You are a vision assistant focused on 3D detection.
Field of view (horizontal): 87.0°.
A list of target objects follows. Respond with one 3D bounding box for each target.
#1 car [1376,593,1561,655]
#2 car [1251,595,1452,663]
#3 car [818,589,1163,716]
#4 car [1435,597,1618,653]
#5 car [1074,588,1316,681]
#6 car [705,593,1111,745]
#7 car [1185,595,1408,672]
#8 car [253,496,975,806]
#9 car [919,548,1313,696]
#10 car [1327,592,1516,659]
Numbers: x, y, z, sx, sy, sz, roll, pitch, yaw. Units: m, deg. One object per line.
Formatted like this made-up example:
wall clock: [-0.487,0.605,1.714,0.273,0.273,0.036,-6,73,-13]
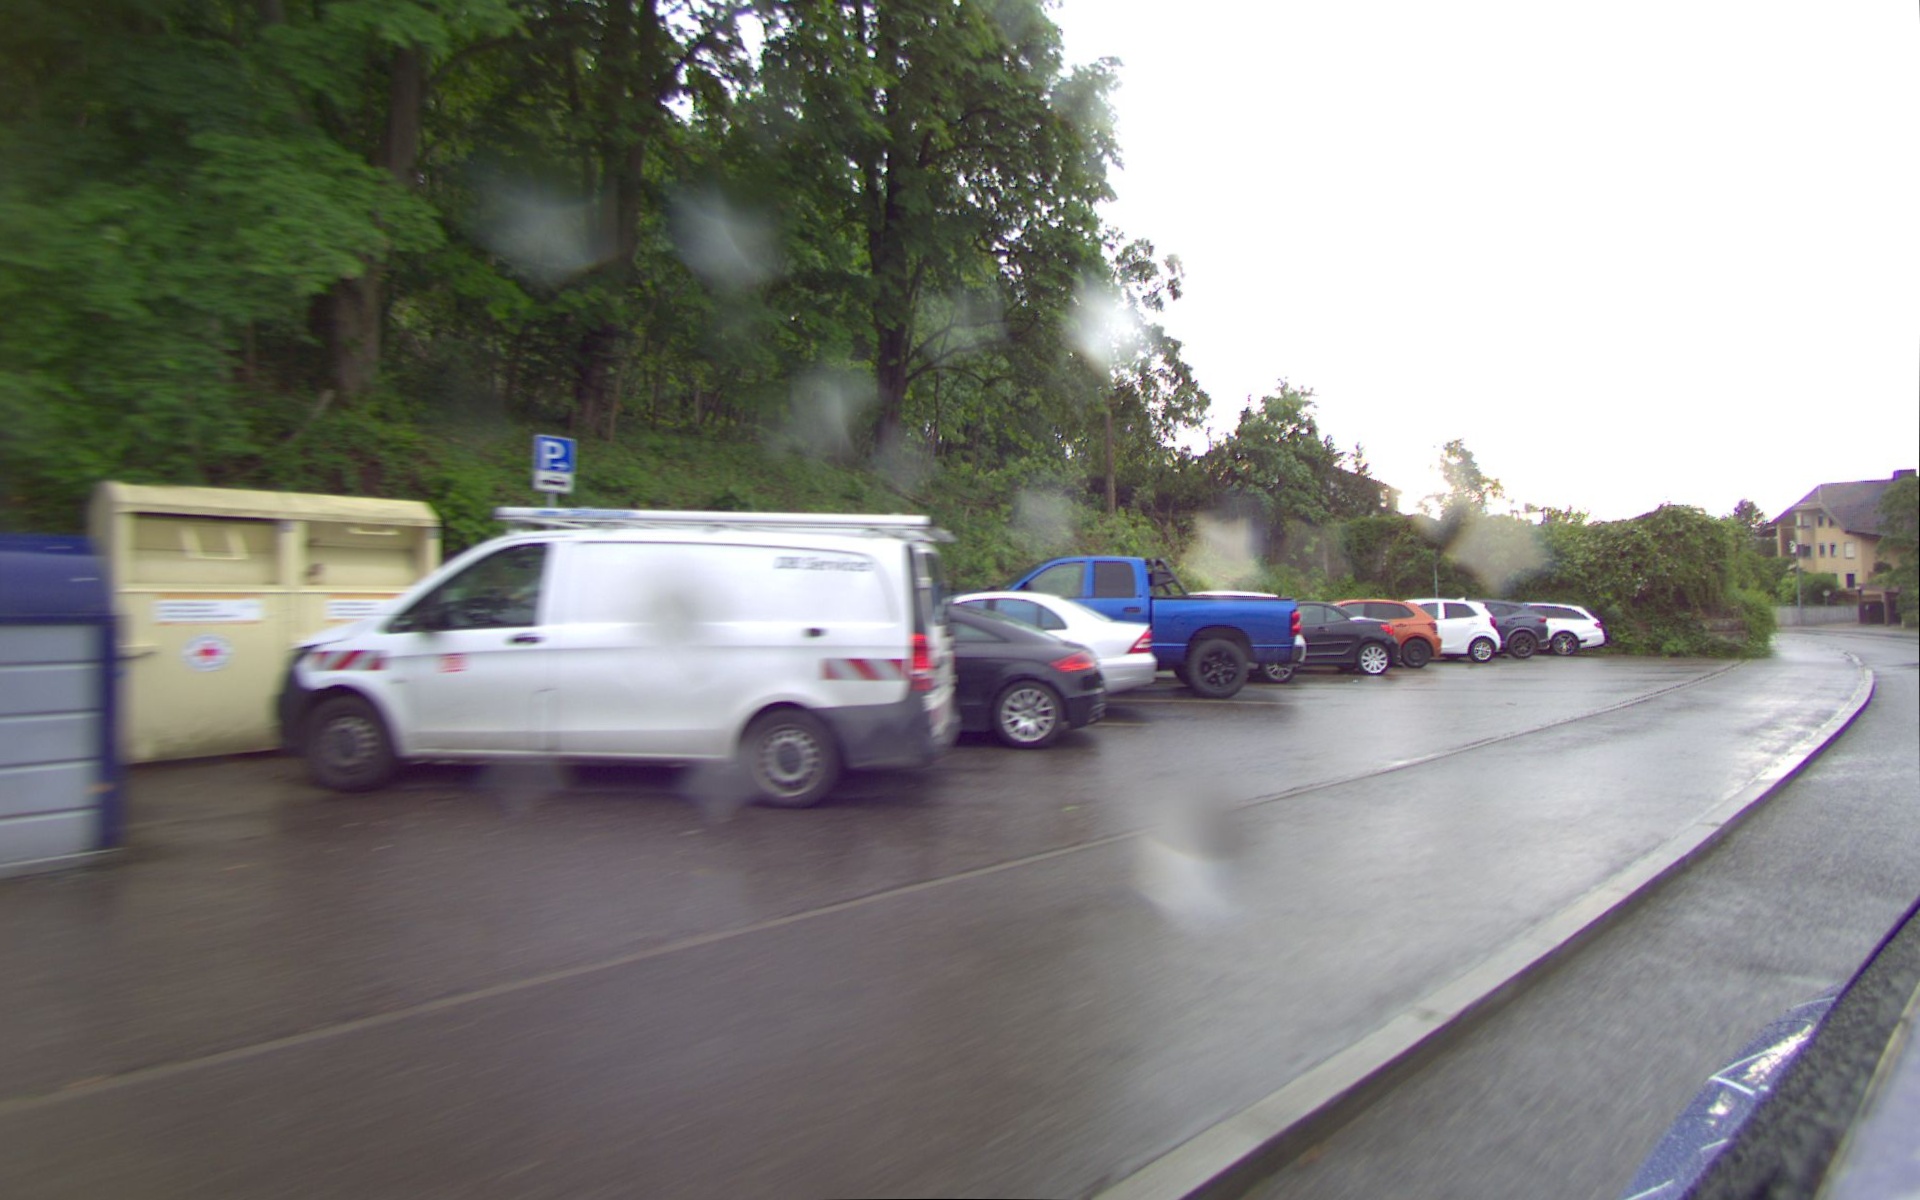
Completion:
car: [13.531,0.614,27.128,4.020,1.526,1.749,1,0,6]
car: [8.464,0.605,22.146,3.728,1.419,1.715,0,0,5]
car: [0.360,0.584,12.311,3.921,1.431,1.625,0,0,3]
car: [16.293,0.675,29.331,4.253,1.482,1.804,1,0,15]
car: [3.949,0.558,17.475,3.841,1.505,1.617,0,0,4]
car: [-0.448,0.618,10.125,3.728,1.365,1.760,0,0,4]
car: [6.430,0.618,19.648,3.774,1.419,1.715,0,0,4]
car: [-2.326,0.303,7.725,4.756,1.965,2.154,1,0,5]
car: [2.204,0.291,15.168,5.385,1.994,2.328,0,0,5]
car: [11.077,0.592,24.464,3.723,1.498,1.752,1,0,0]
